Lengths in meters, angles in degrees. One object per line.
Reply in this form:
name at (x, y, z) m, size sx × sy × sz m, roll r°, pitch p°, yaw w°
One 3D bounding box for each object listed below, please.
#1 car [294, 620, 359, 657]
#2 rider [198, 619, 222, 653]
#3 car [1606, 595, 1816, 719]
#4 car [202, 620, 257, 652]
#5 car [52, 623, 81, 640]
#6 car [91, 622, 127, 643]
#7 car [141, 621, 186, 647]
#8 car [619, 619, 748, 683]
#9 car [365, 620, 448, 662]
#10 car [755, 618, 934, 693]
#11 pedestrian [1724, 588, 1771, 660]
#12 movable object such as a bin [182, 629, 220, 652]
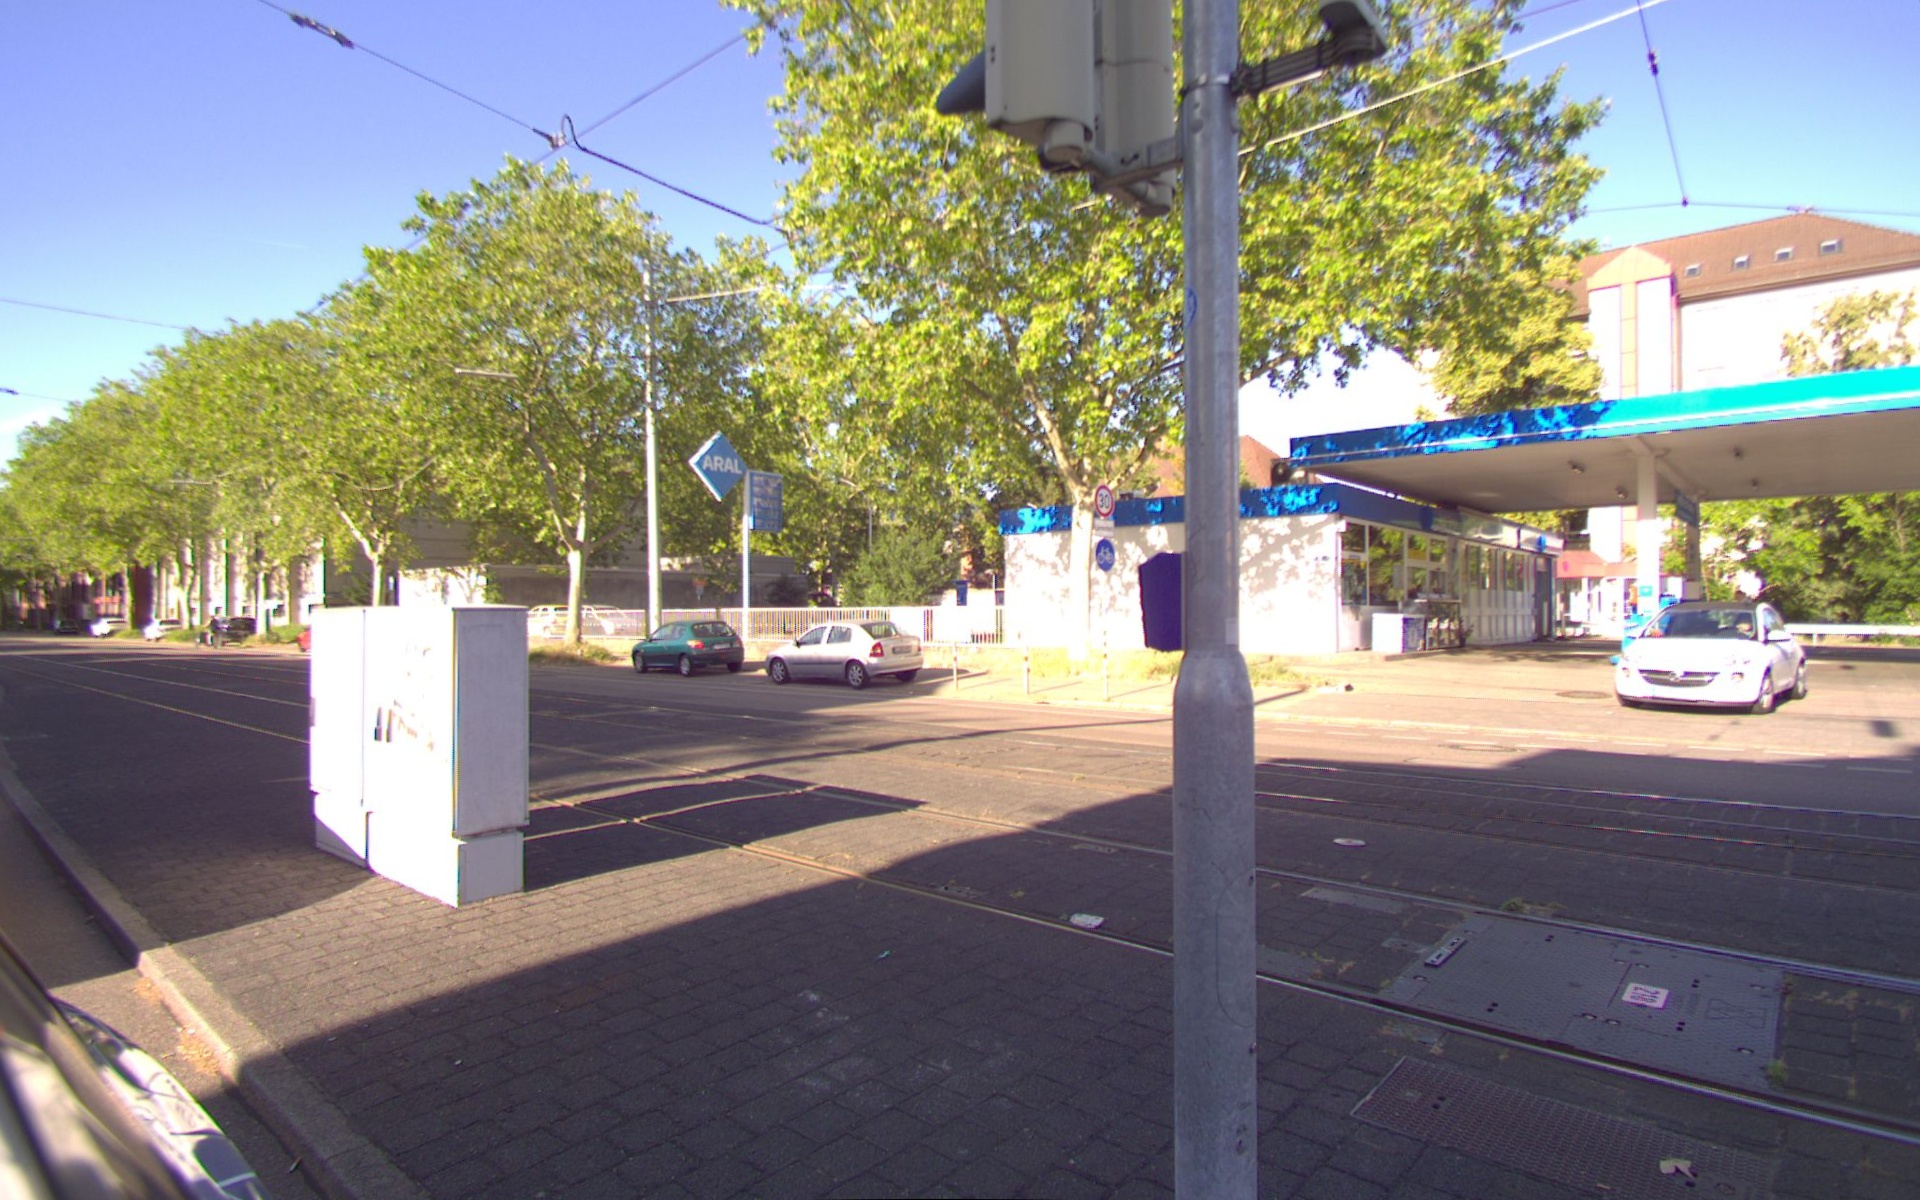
car at (-28.800, 1.725, 46.003) m, size 3.377 × 1.506 × 1.639 m, roll -1°, pitch 2°, yaw 43°
rider at (-37.786, 1.795, 51.014) m, size 1.105 × 1.660 × 0.716 m, roll -1°, pitch 0°, yaw 39°
car at (10.815, 0.697, 14.478) m, size 3.876 × 1.446 × 1.746 m, roll -2°, pitch 1°, yaw -43°
car at (-40.763, 1.983, 56.450) m, size 3.878 × 1.603 × 1.731 m, roll -1°, pitch 2°, yaw 43°
car at (-85.040, 3.006, 96.324) m, size 3.731 × 1.471 × 1.639 m, roll -1°, pitch 2°, yaw 43°
car at (-66.791, 2.496, 79.404) m, size 3.731 × 1.471 × 1.639 m, roll -1°, pitch 2°, yaw 43°
car at (-53.704, 2.281, 68.238) m, size 3.878 × 1.552 × 1.731 m, roll -1°, pitch 2°, yaw 43°
car at (-7.384, 1.294, 26.877) m, size 3.606 × 1.455 × 1.598 m, roll -1°, pitch 2°, yaw 43°
car at (-21.842, 1.563, 39.896) m, size 3.769 × 1.455 × 1.701 m, roll -1°, pitch 2°, yaw 43°
car at (-2.631, 1.184, 22.592) m, size 3.987 × 1.376 × 1.666 m, roll -2°, pitch 3°, yaw 41°
pedestrian at (19.078, 0.585, 24.516) m, size 0.847 × 1.715 × 0.640 m, roll -1°, pitch -3°, yaw 40°
movable object such as a bin at (-38.859, 2.040, 51.792) m, size 1.833 × 1.111 × 1.163 m, roll -1°, pitch 0°, yaw 39°
